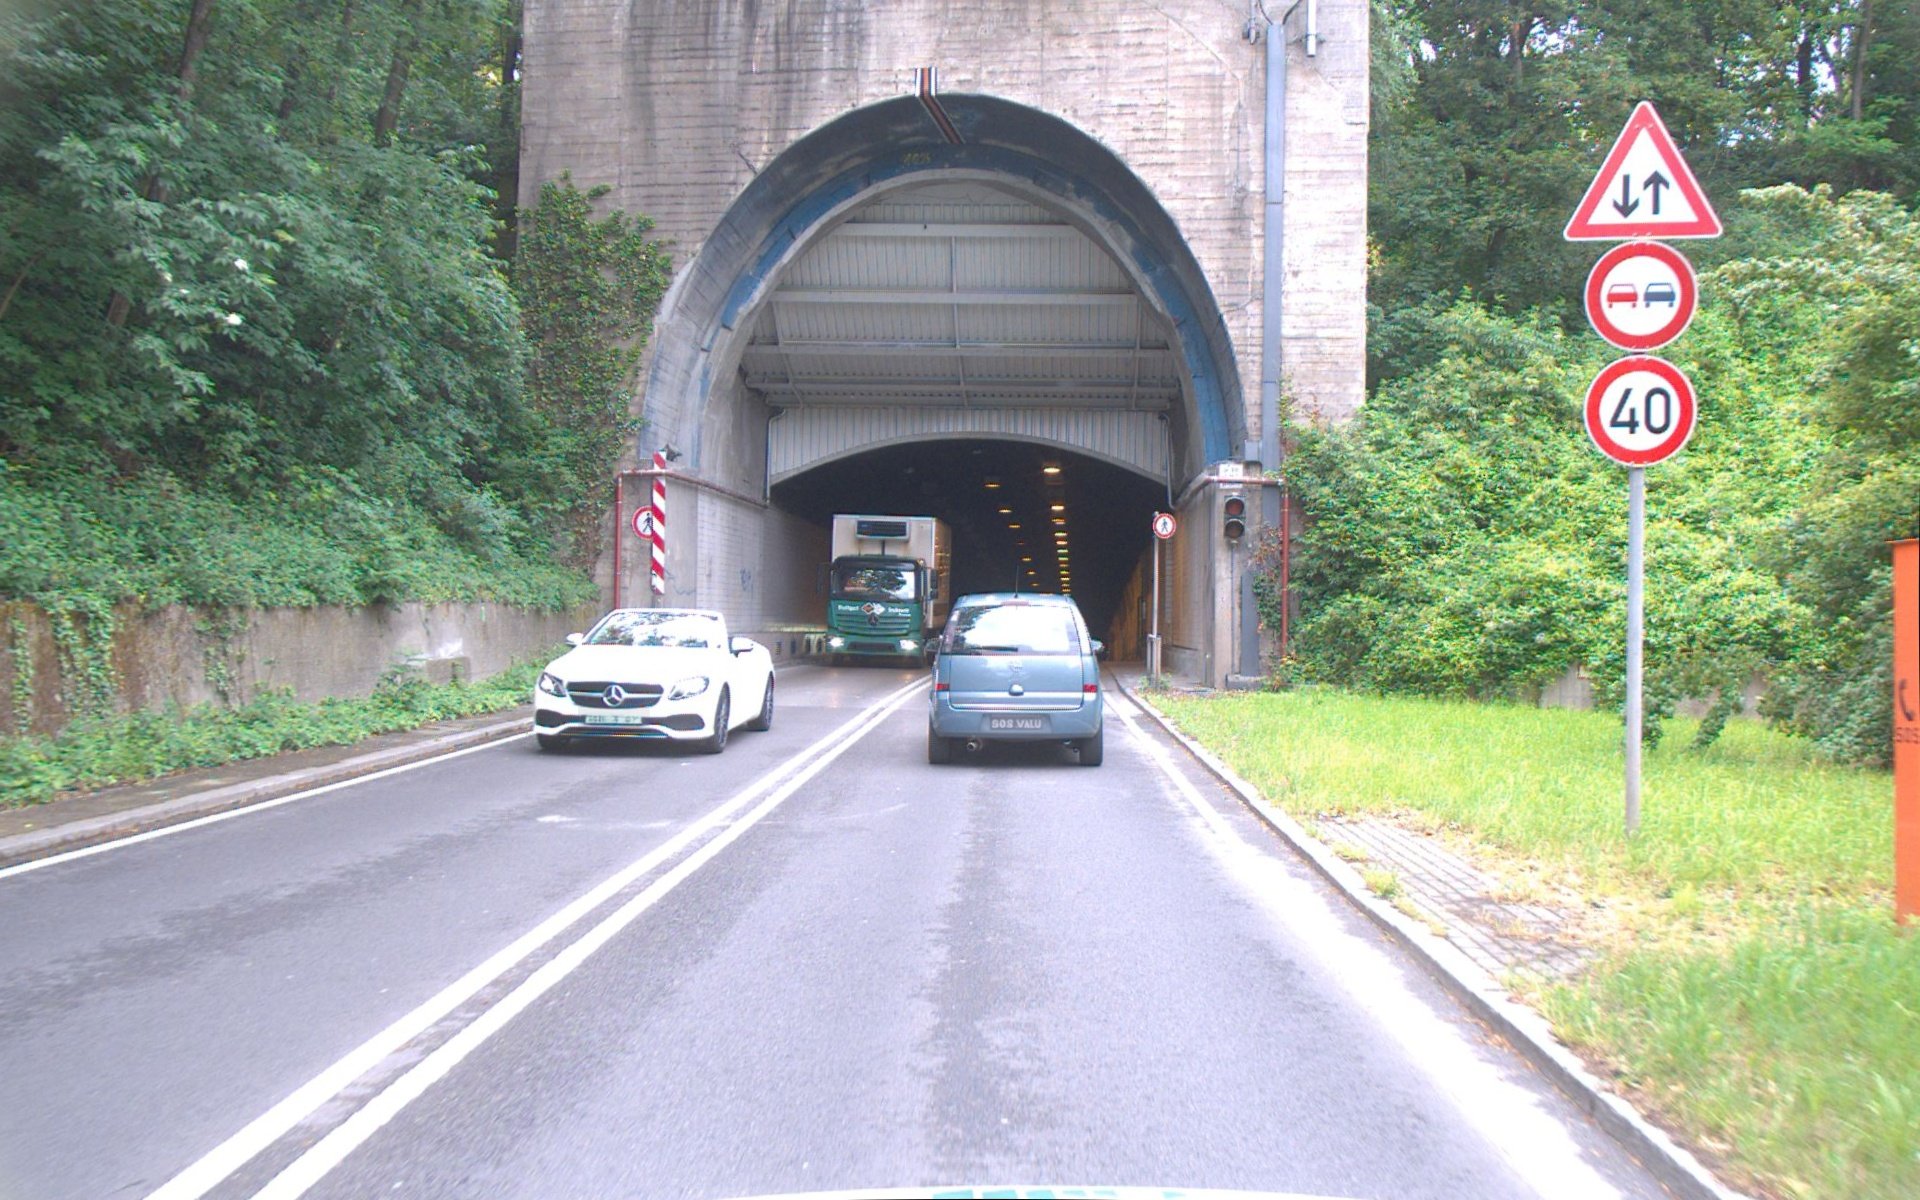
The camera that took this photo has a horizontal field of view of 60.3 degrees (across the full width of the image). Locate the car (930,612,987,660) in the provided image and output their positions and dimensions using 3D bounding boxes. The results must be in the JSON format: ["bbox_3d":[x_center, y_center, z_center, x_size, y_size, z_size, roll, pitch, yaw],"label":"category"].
[{"bbox_3d":[-0.024,1.330,62.201,1.839,1.705,4.379,1,-1,4],"label":"car"}]

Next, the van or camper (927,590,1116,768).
[{"bbox_3d":[0.644,0.732,16.766,1.699,1.605,3.647,0,-1,3],"label":"van or camper"}]

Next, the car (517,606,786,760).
[{"bbox_3d":[-3.082,0.770,17.471,1.829,1.395,4.457,0,0,2],"label":"car"}]

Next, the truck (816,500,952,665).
[{"bbox_3d":[-1.758,-0.369,41.608,2.620,3.731,7.520,1,0,3],"label":"truck"}]

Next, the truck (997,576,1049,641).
[{"bbox_3d":[4.176,0.637,107.735,2.754,3.782,7.549,1,-4,6],"label":"truck"}]

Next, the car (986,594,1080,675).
[{"bbox_3d":[1.736,0.749,37.991,1.951,1.682,4.003,0,1,5],"label":"car"}]
